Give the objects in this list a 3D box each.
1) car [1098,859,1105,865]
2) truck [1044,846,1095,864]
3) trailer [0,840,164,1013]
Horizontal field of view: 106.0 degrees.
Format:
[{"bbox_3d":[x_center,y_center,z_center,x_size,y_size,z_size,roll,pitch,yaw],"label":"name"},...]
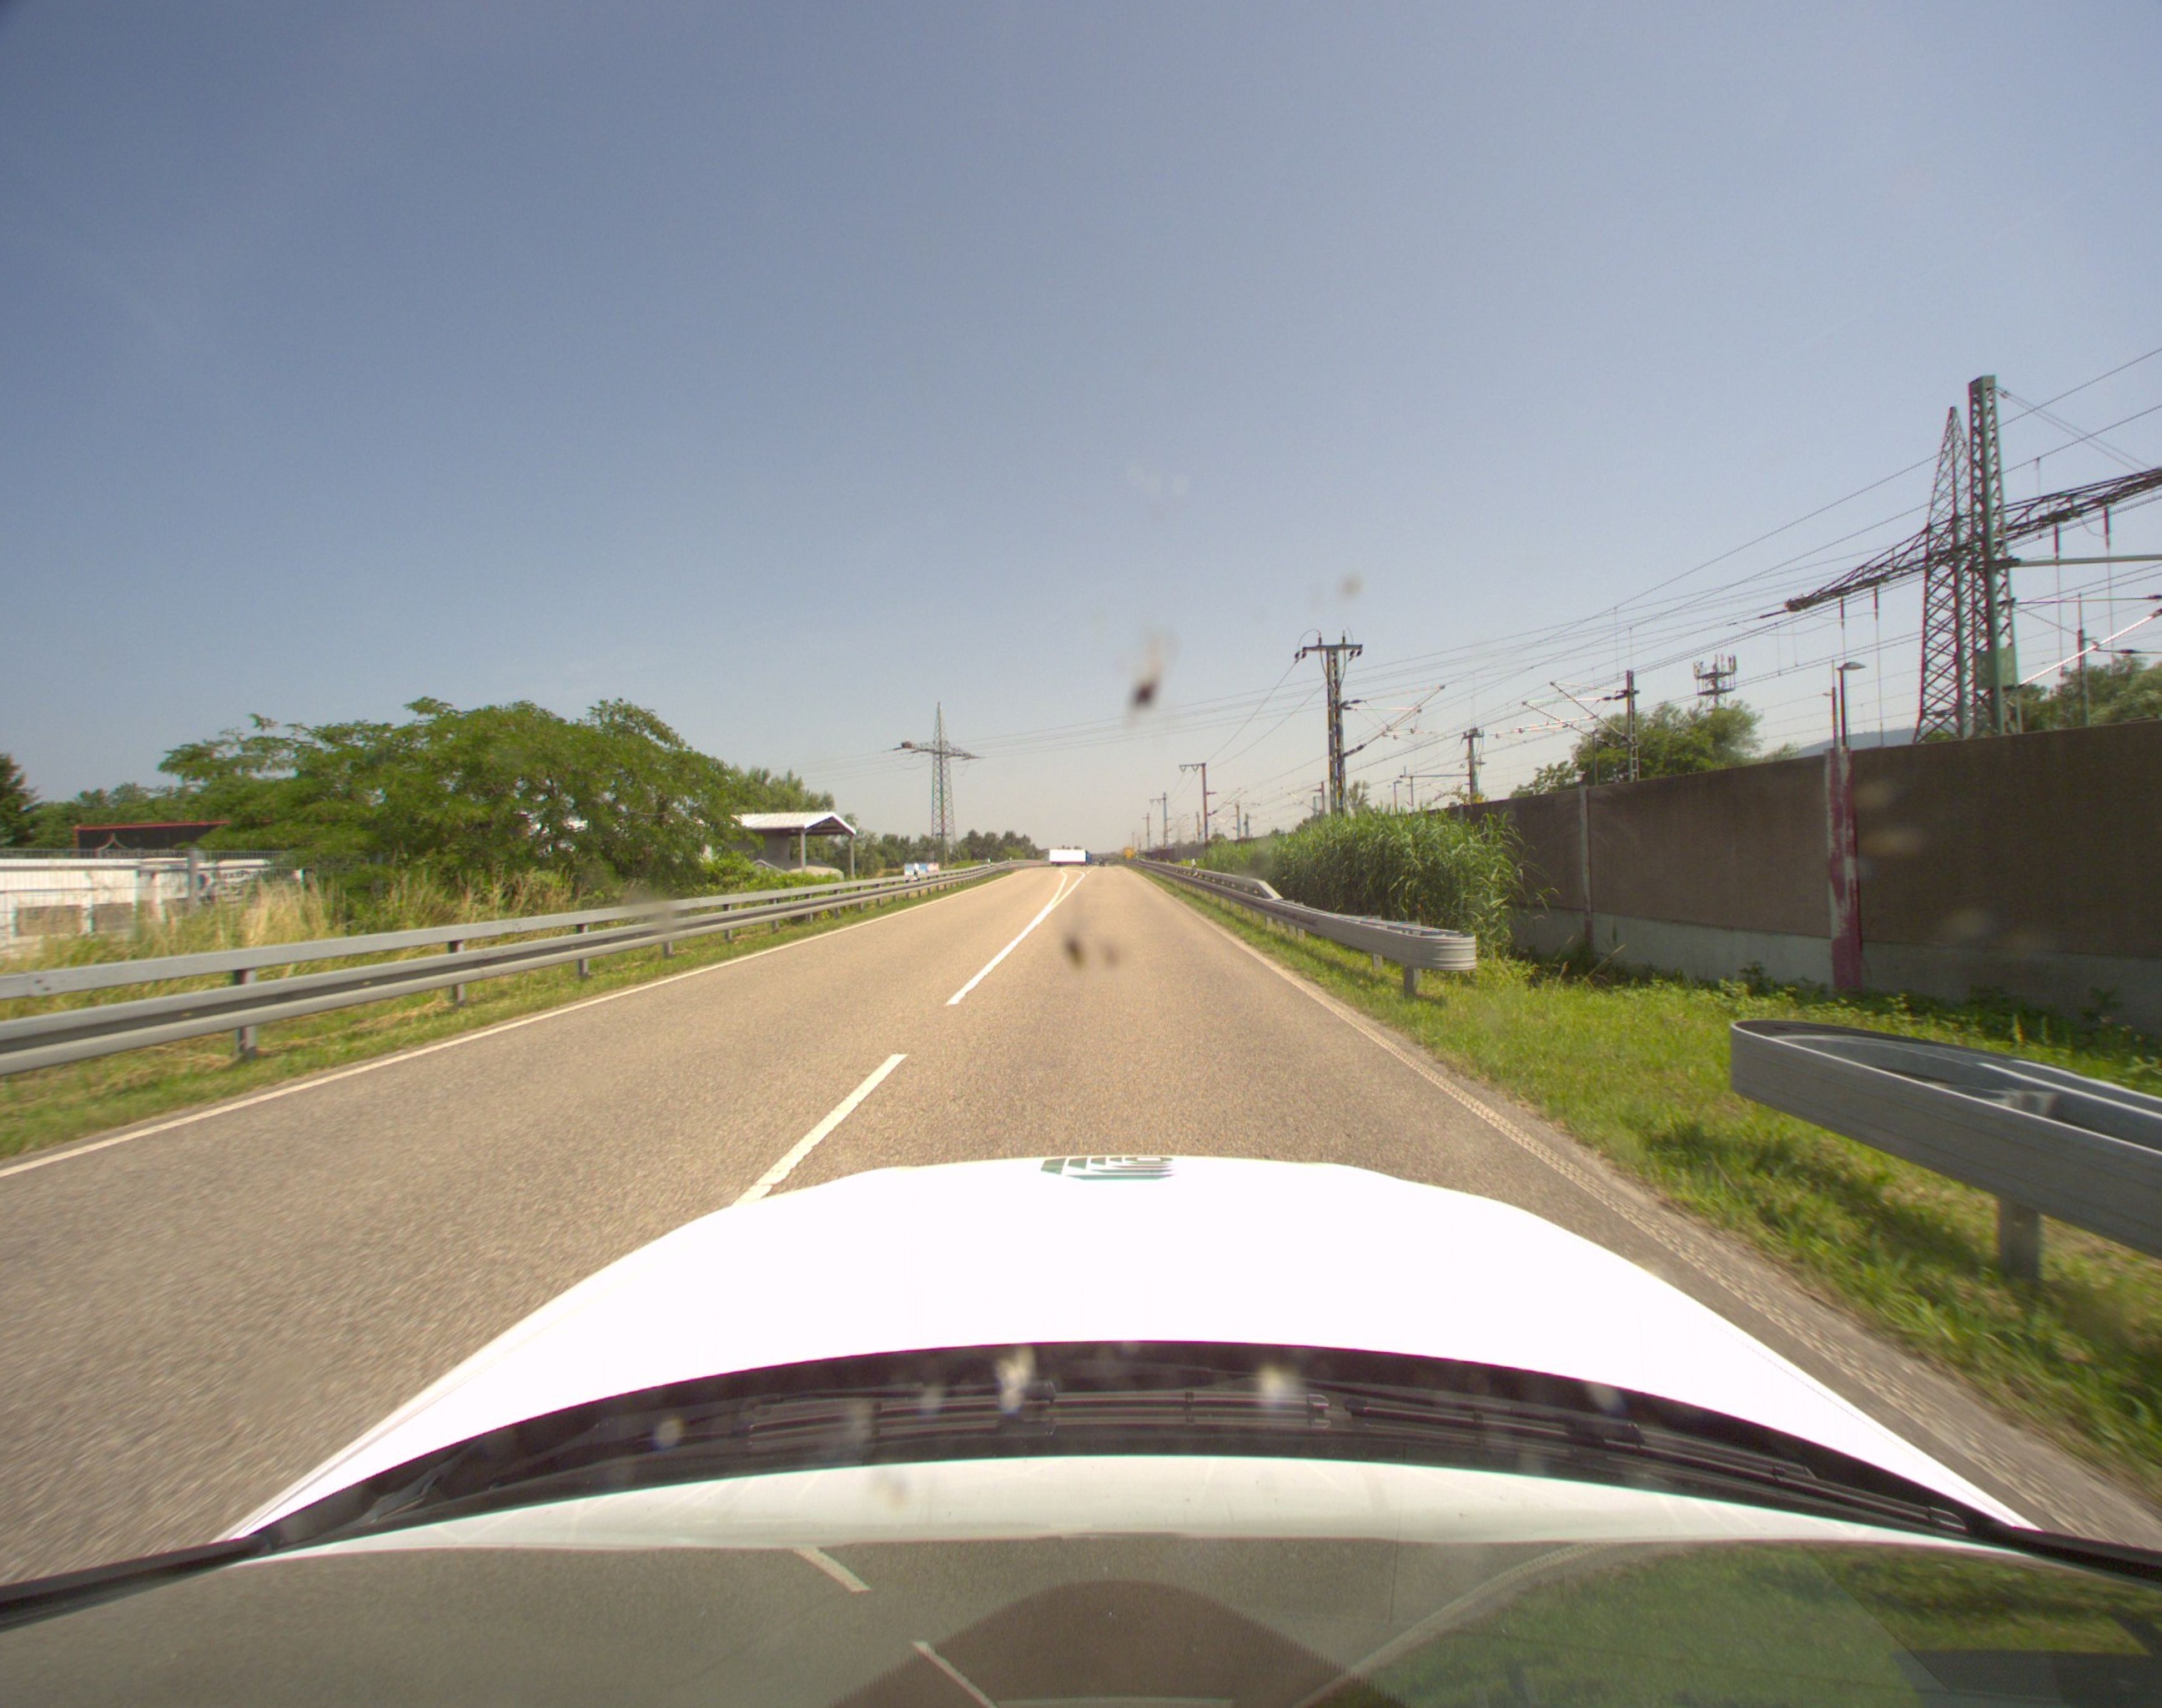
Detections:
[{"bbox_3d":[6.557,2.504,257.106,1.988,2.013,3.997,-1,0,-2],"label":"car"},{"bbox_3d":[-2.299,0.233,169.310,10.469,3.632,2.820,0,0,-27],"label":"truck"},{"bbox_3d":[-13.499,0.764,8.333,5.504,1.720,2.486,-1,0,2],"label":"trailer"}]
